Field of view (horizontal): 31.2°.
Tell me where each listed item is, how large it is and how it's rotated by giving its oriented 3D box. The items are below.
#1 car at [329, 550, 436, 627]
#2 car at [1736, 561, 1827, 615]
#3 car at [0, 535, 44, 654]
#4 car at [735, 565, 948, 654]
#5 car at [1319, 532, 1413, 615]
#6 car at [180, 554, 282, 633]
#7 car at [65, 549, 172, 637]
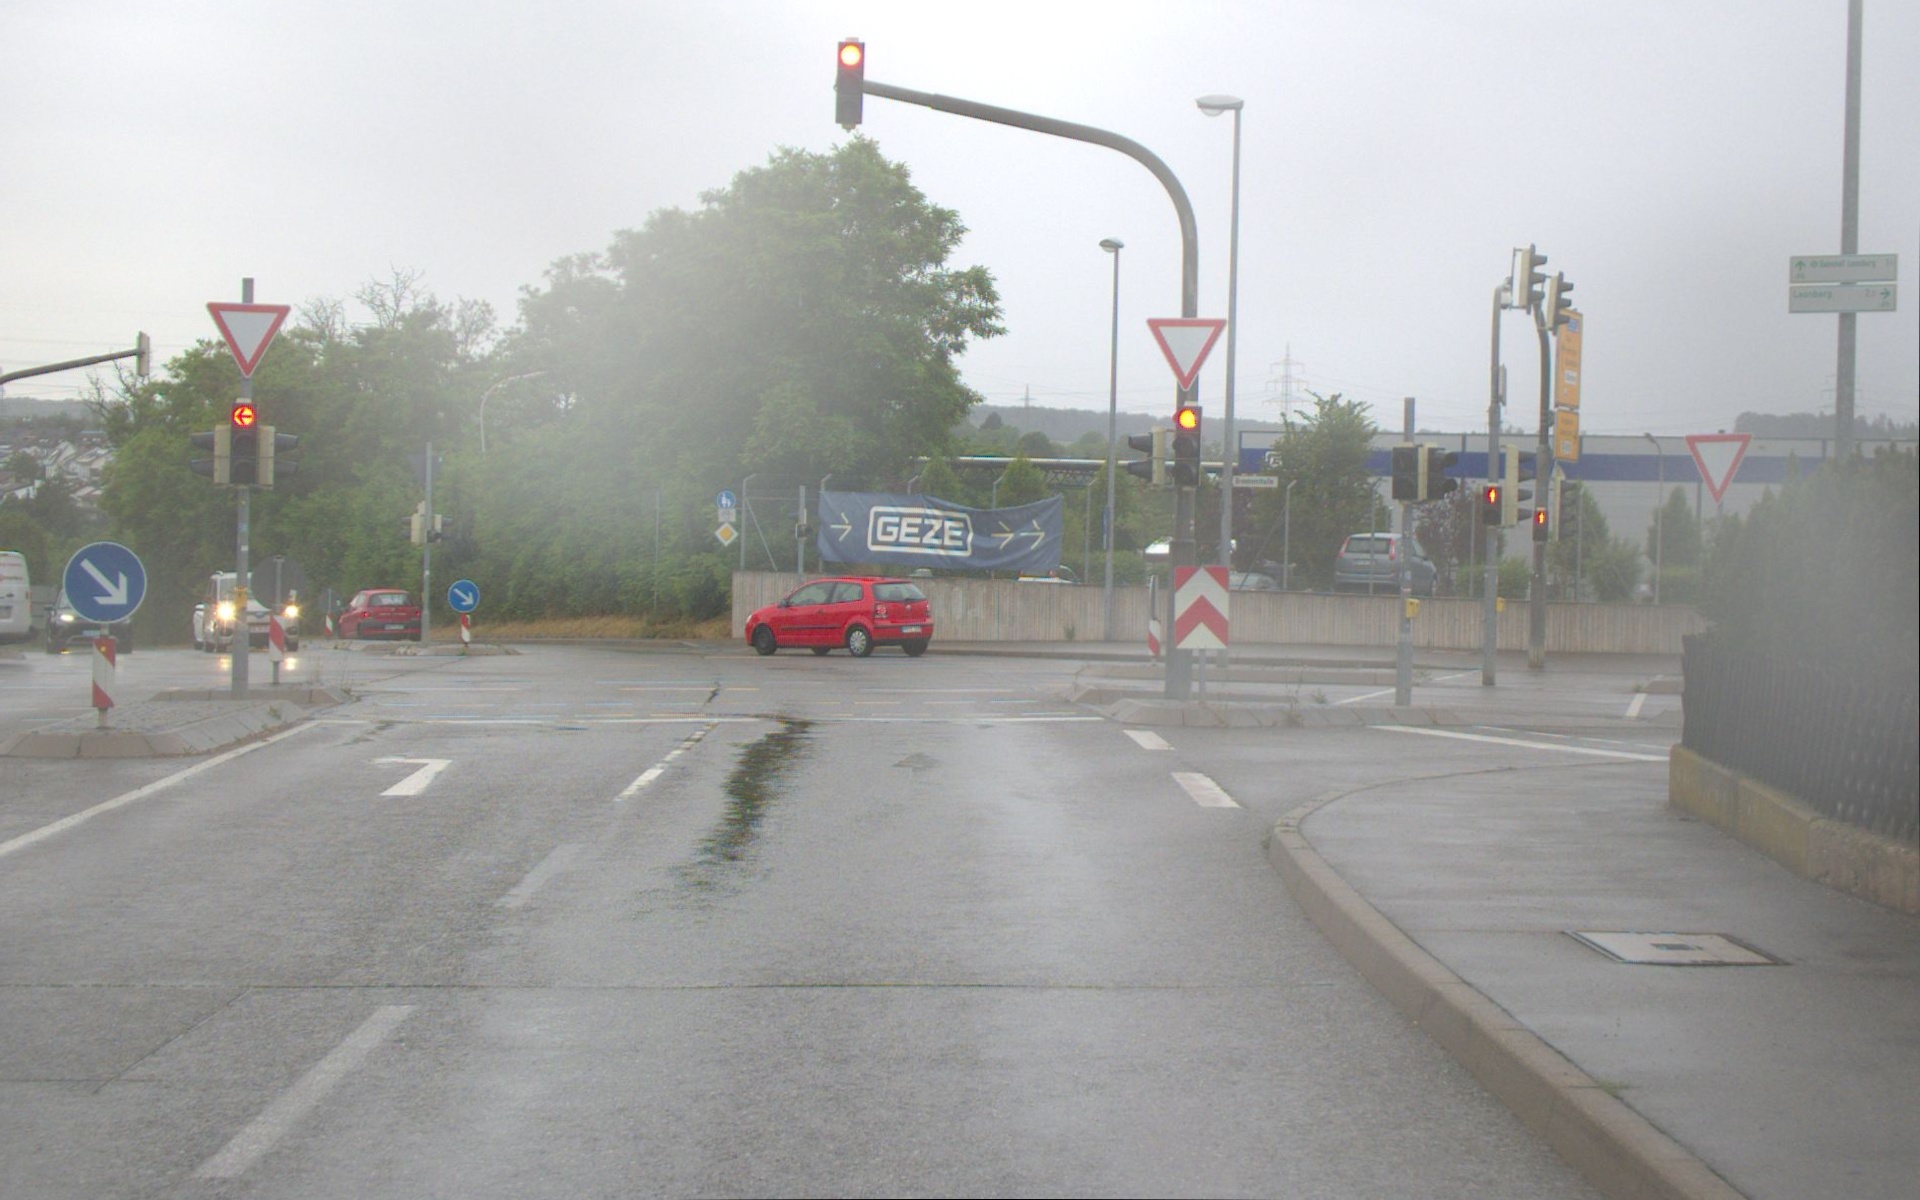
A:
[{"bbox_3d":[-15.539,-0.329,92.384,1.993,1.901,4.001,2,1,-22],"label":"car"},{"bbox_3d":[23.155,-0.343,96.819,1.995,1.473,3.996,1,1,20],"label":"car"},{"bbox_3d":[-18.538,-0.152,59.078,4.998,2.007,1.999,1,1,10],"label":"car"},{"bbox_3d":[-2.224,0.170,63.698,3.804,1.444,1.616,4,2,41],"label":"car"},{"bbox_3d":[10.212,-0.663,86.295,1.994,2.007,3.998,1,0,12],"label":"car"},{"bbox_3d":[-16.184,-0.164,76.238,1.993,1.612,4.001,1,1,-15],"label":"car"},{"bbox_3d":[-18.905,-0.142,77.151,1.993,1.888,4.001,1,-1,-18],"label":"car"}]
